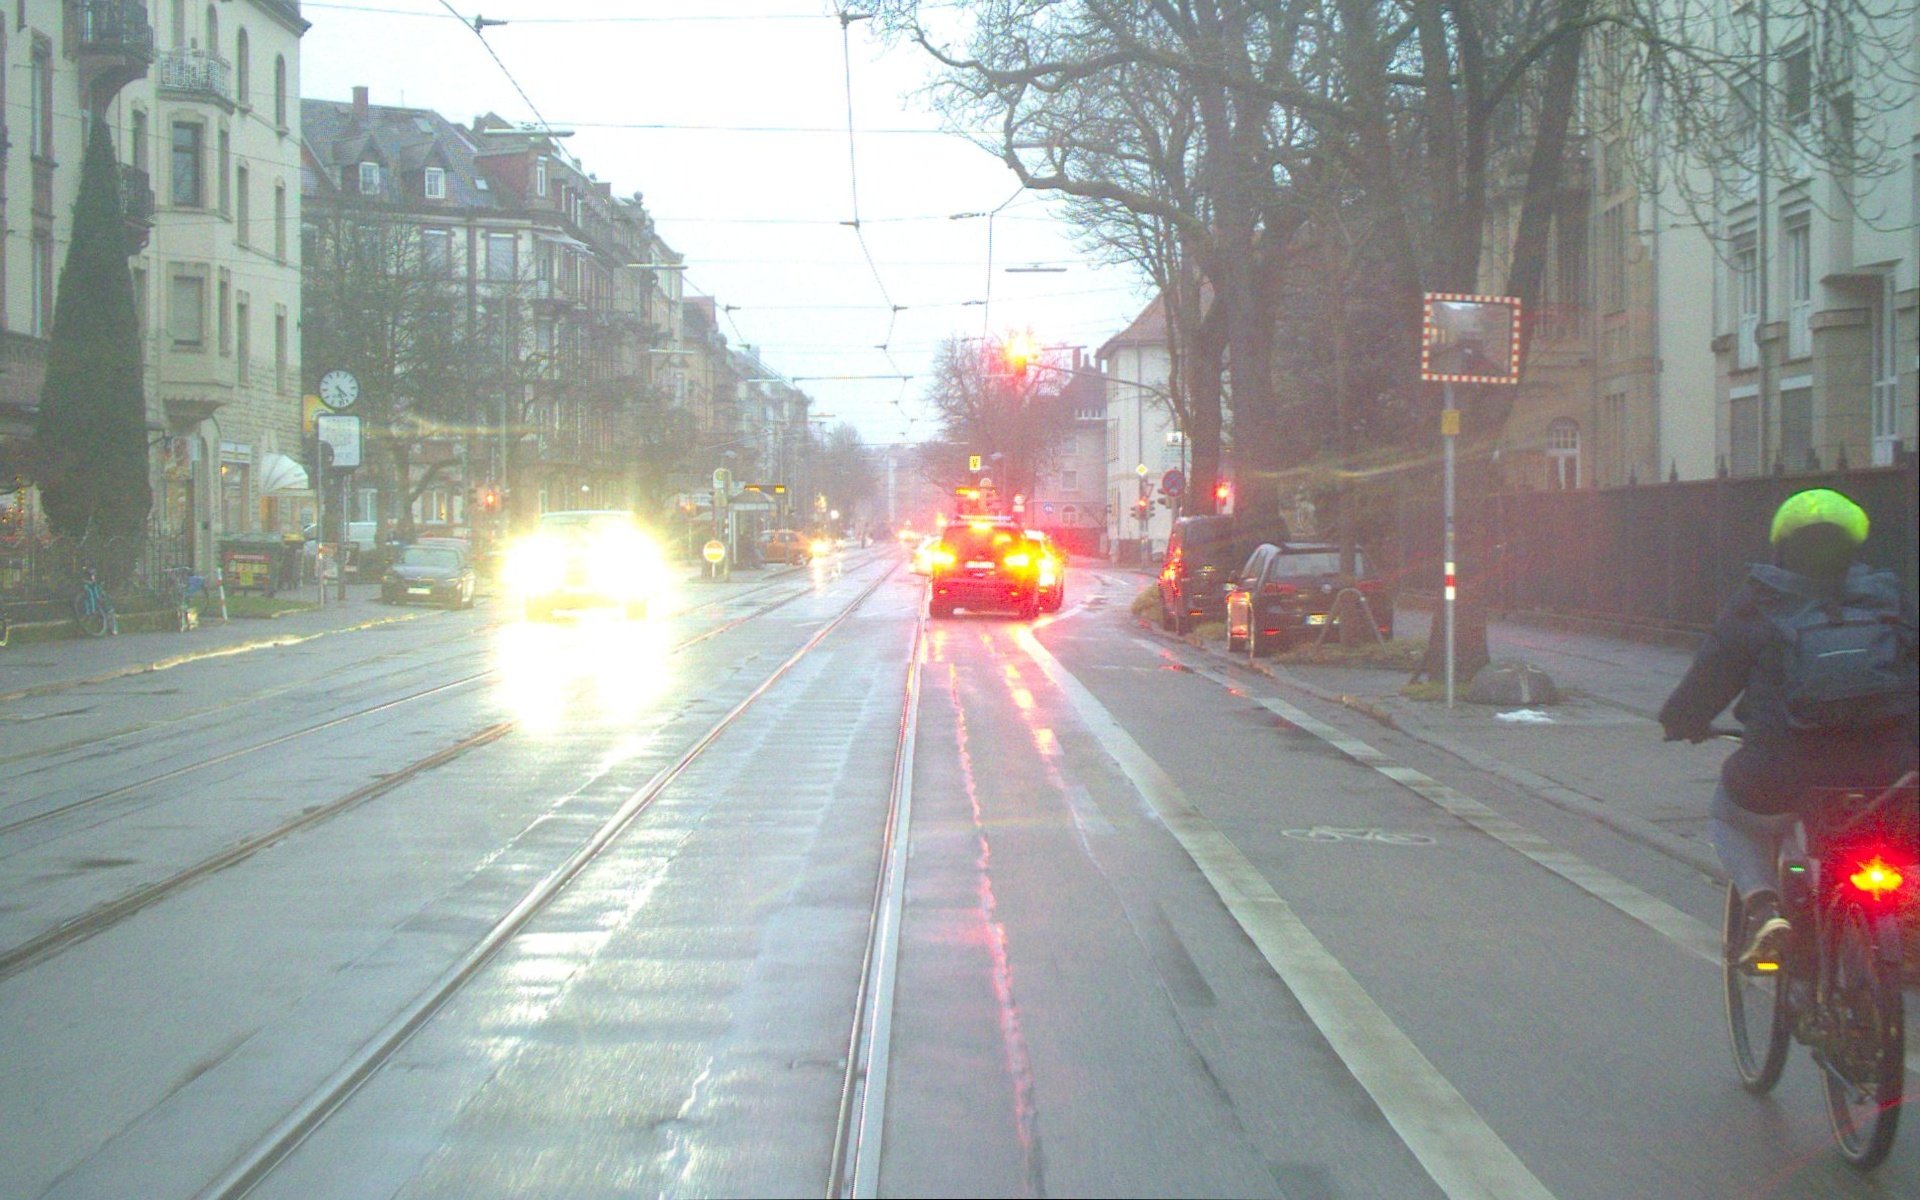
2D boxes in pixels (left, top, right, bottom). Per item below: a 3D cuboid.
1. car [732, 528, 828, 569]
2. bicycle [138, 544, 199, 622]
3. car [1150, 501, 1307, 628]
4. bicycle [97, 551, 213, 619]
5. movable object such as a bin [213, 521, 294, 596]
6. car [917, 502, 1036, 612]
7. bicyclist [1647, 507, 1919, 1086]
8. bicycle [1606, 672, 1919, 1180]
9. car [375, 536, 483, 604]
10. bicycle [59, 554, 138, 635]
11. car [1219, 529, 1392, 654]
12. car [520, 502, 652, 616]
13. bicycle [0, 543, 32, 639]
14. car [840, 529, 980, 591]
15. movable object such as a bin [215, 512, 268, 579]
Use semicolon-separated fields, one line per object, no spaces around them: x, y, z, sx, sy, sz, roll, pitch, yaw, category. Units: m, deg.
-7.847;-2.245;149.633;3.986;1.711;1.904;-1;2;-8;car
-11.599;-0.258;50.406;0.614;1.077;1.811;-1;2;-5;bicycle
4.253;-0.612;55.123;1.993;1.894;5.028;-1;2;-1;car
-13.296;-0.251;56.807;1.804;1.077;0.616;-1;2;-7;bicycle
-14.856;-0.876;72.347;1.409;1.525;1.365;-1;2;0;movable object such as a bin
0.263;-0.766;62.599;1.993;1.890;4.759;1;0;-1;car
2.205;0.482;9.021;0.656;1.441;0.849;-1;2;2;bicyclist
2.229;0.797;9.174;0.707;1.093;2.029;-1;2;2;bicycle
-12.032;-0.701;78.077;1.833;1.442;4.001;-1;2;0;car
-11.421;-0.087;45.597;0.625;1.014;1.806;-1;2;-2;bicycle
4.305;-0.141;43.353;1.677;1.455;4.043;-1;1;-1;car
-6.685;-0.777;61.913;2.046;1.915;5.101;-1;2;-3;car
-11.438;-0.107;40.540;0.486;1.096;1.931;-1;1;-2;bicycle
-1.431;-1.182;100.126;3.987;1.722;1.740;-1;2;1;car
-17.410;-1.334;83.336;1.014;1.595;1.081;-1;2;2;movable object such as a bin
